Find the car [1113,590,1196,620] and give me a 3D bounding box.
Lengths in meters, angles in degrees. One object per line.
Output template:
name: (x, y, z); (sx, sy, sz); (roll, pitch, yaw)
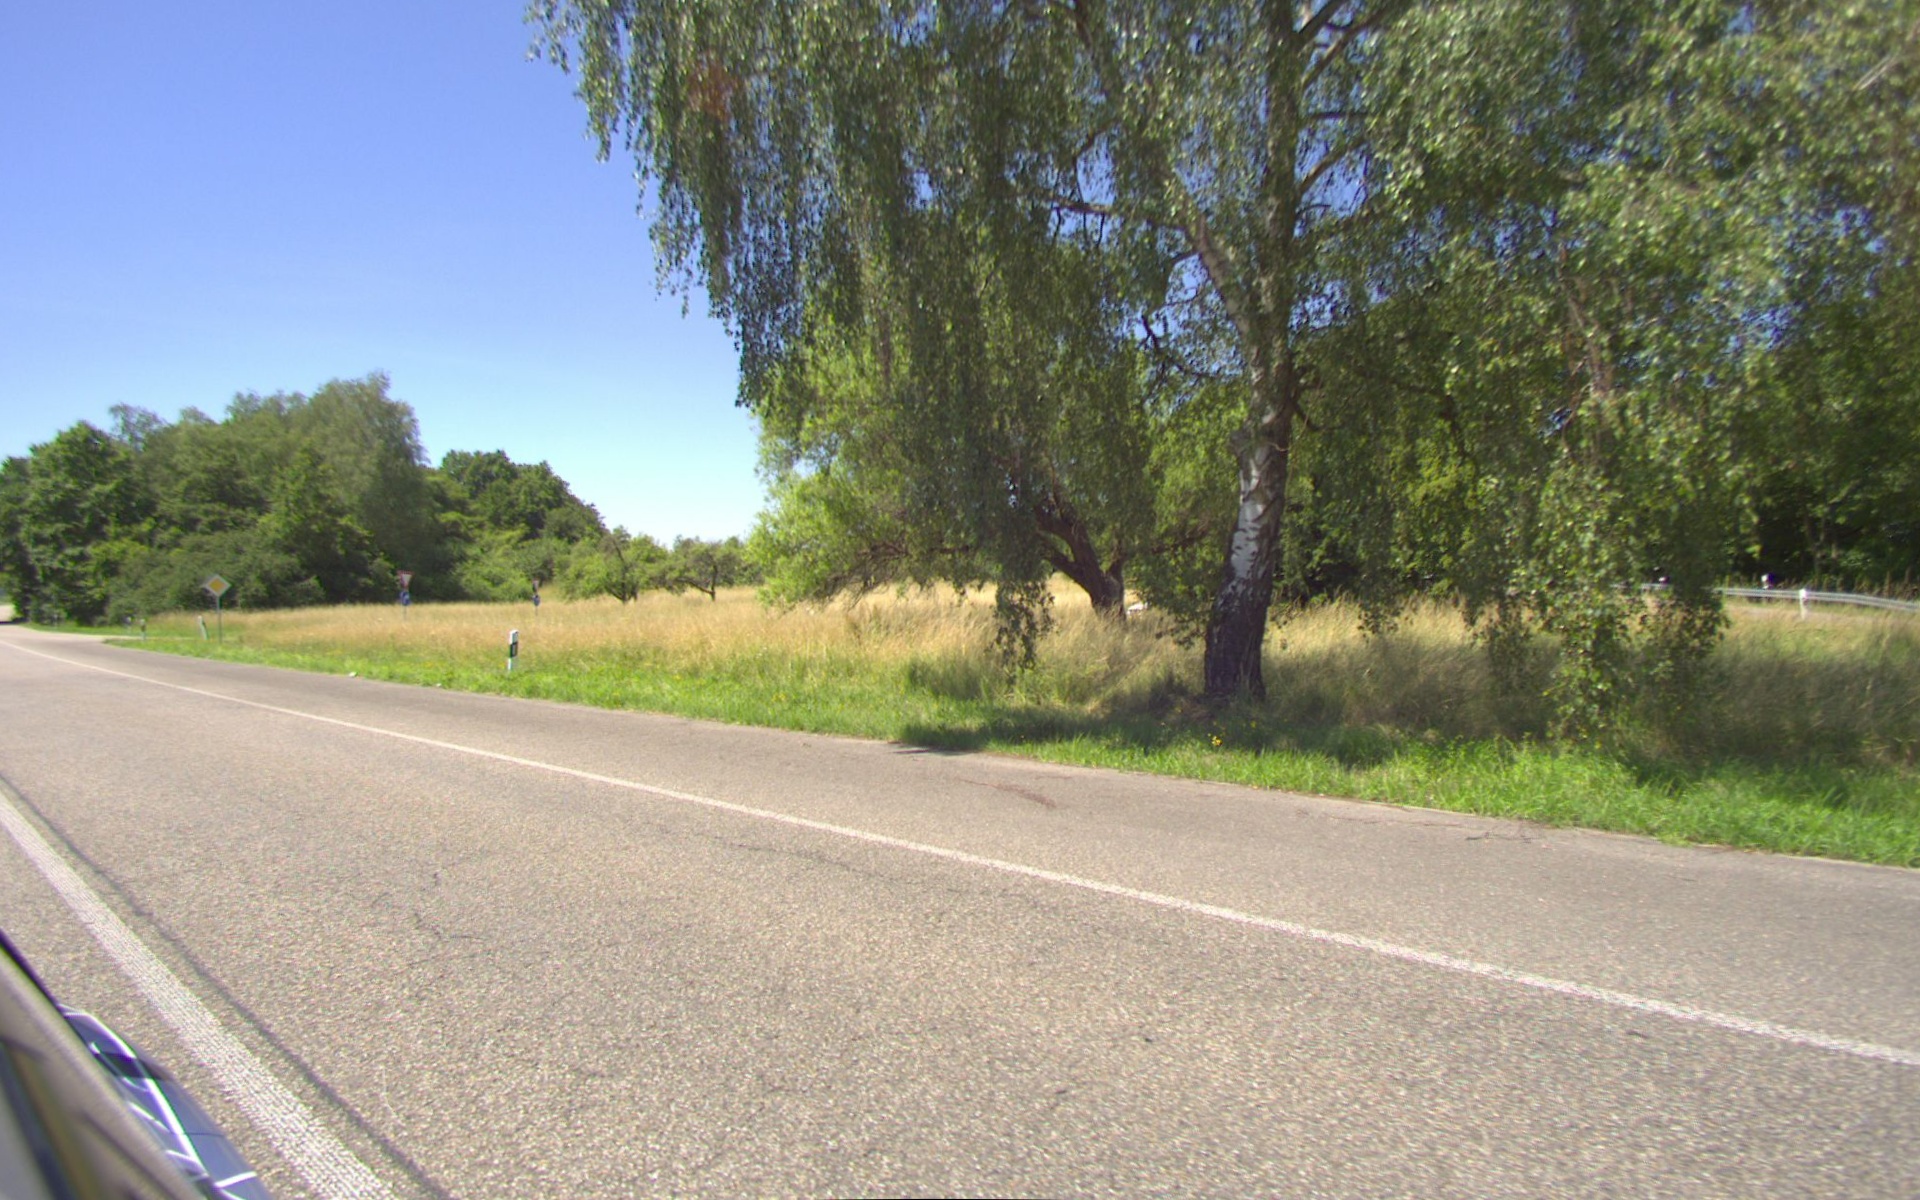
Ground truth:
car: (10.024, 0.254, 52.171); (3.930, 1.478, 1.669); (0, -1, -22)
